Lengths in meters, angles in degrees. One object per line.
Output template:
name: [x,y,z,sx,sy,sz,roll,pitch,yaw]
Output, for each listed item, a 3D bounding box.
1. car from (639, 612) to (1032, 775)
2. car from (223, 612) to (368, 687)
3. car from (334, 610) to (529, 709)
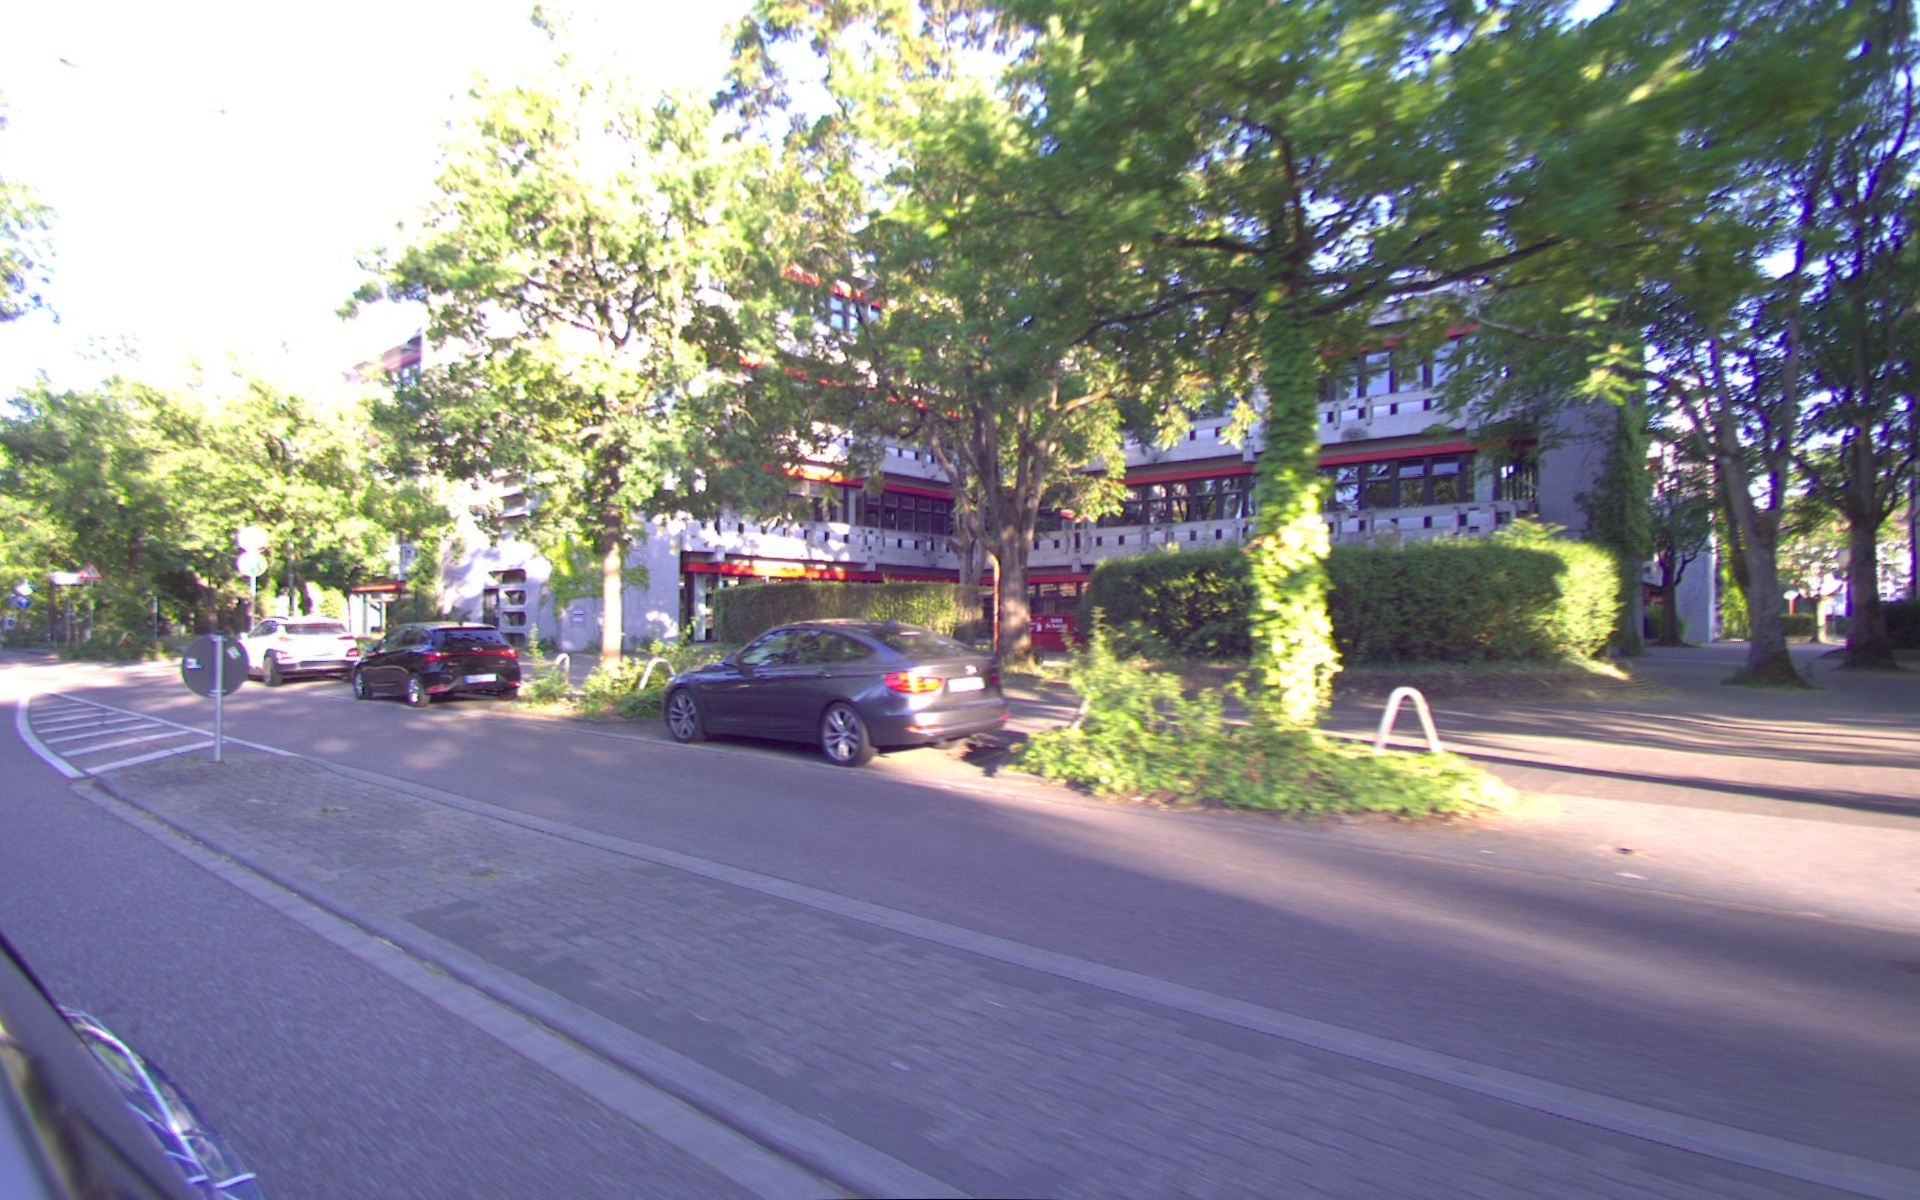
car: [-1.632,0.918,11.786,4.860,1.522,1.783,-1,-1,41]
car: [-15.839,1.116,24.053,4.144,1.628,1.785,-1,-2,40]
car: [-9.821,1.014,18.686,4.144,1.628,1.762,-1,-1,40]
